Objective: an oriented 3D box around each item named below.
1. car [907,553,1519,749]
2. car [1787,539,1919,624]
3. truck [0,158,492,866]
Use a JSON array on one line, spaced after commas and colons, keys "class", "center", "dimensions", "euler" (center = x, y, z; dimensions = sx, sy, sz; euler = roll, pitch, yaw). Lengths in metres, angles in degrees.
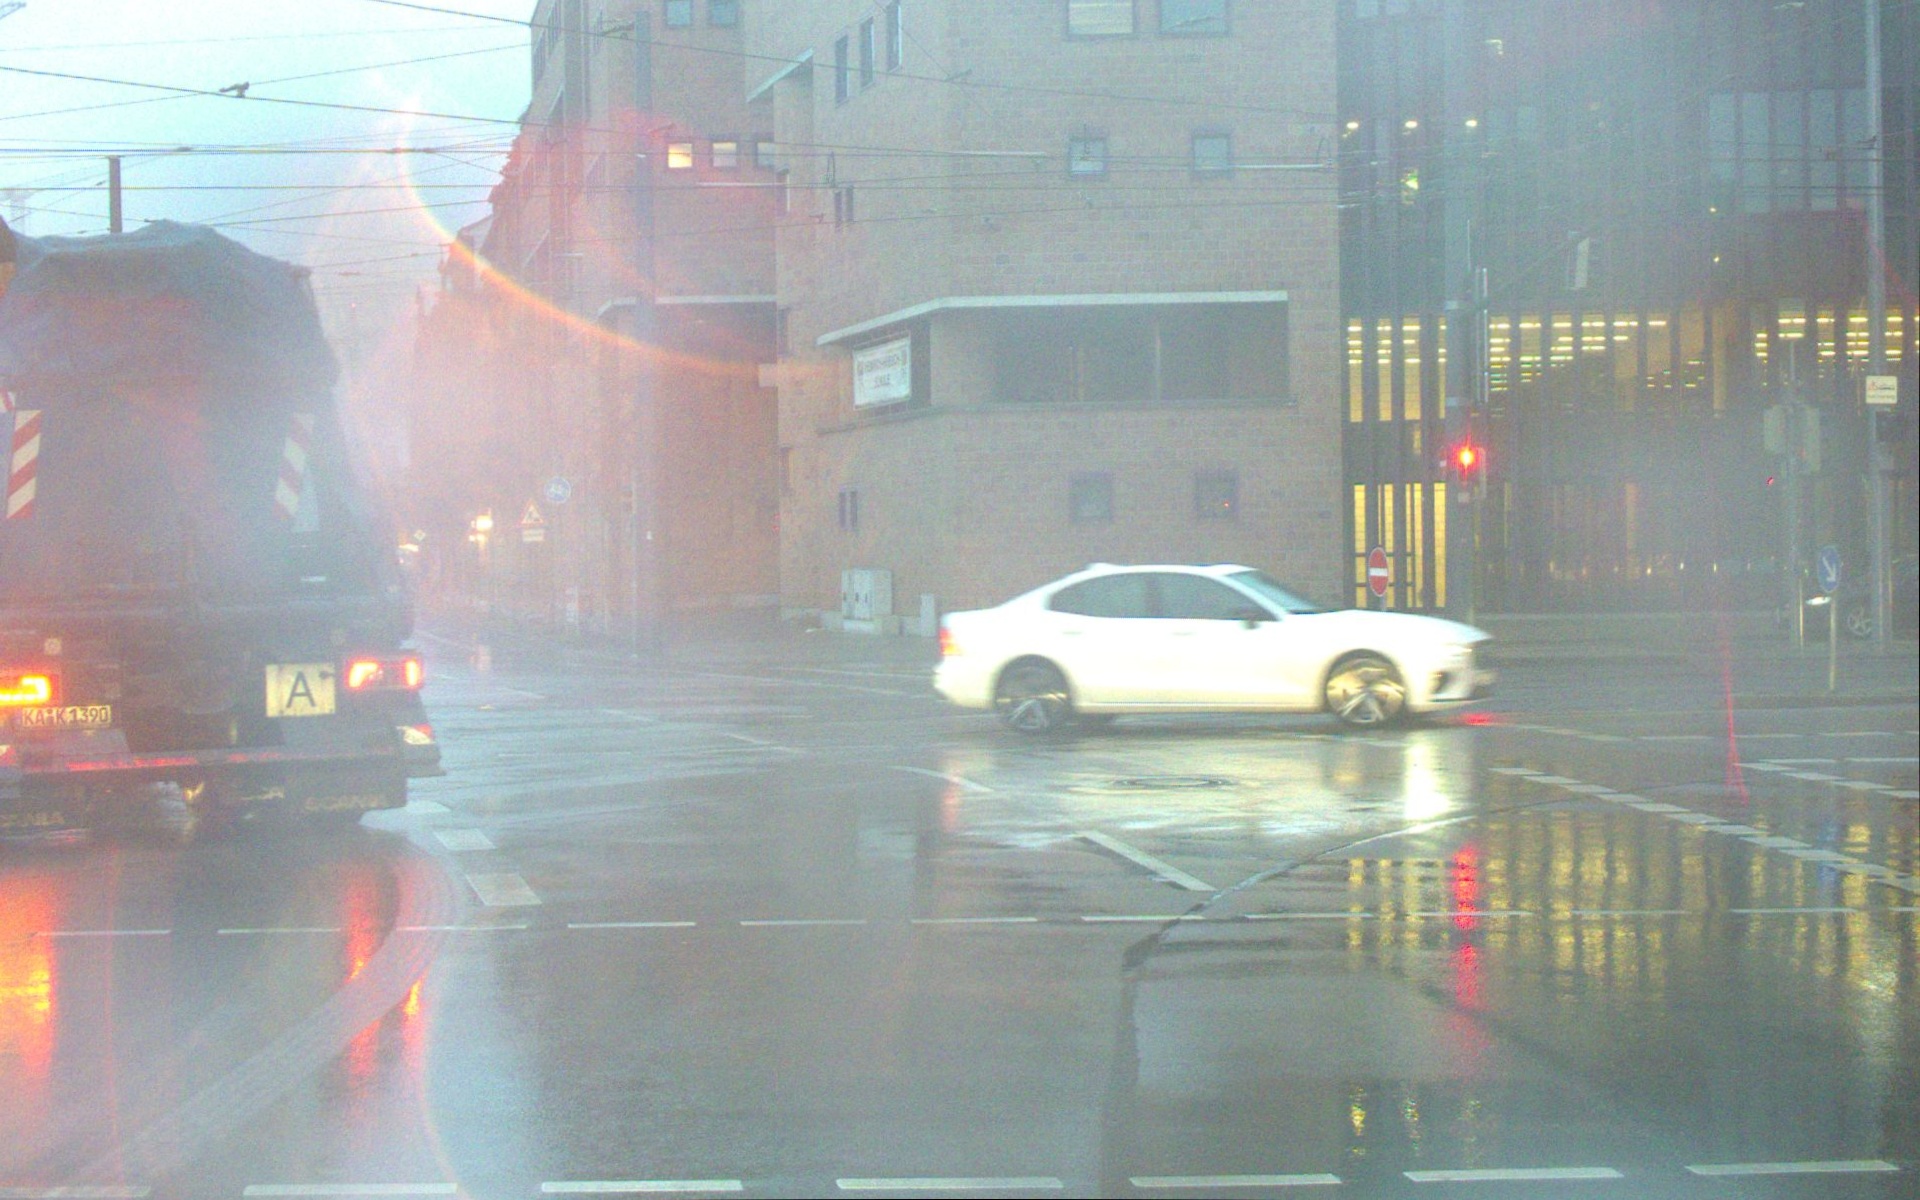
[{"class": "car", "center": [2.176, 0.418, 29.460], "dimensions": [4.823, 1.556, 2.048], "euler": [-1, 1, 21]}, {"class": "car", "center": [15.690, -0.333, 55.739], "dimensions": [3.986, 1.305, 2.000], "euler": [-1, 1, -4]}, {"class": "truck", "center": [-5.558, -0.504, 21.487], "dimensions": [2.839, 3.621, 7.528], "euler": [-1, 1, -27]}]
